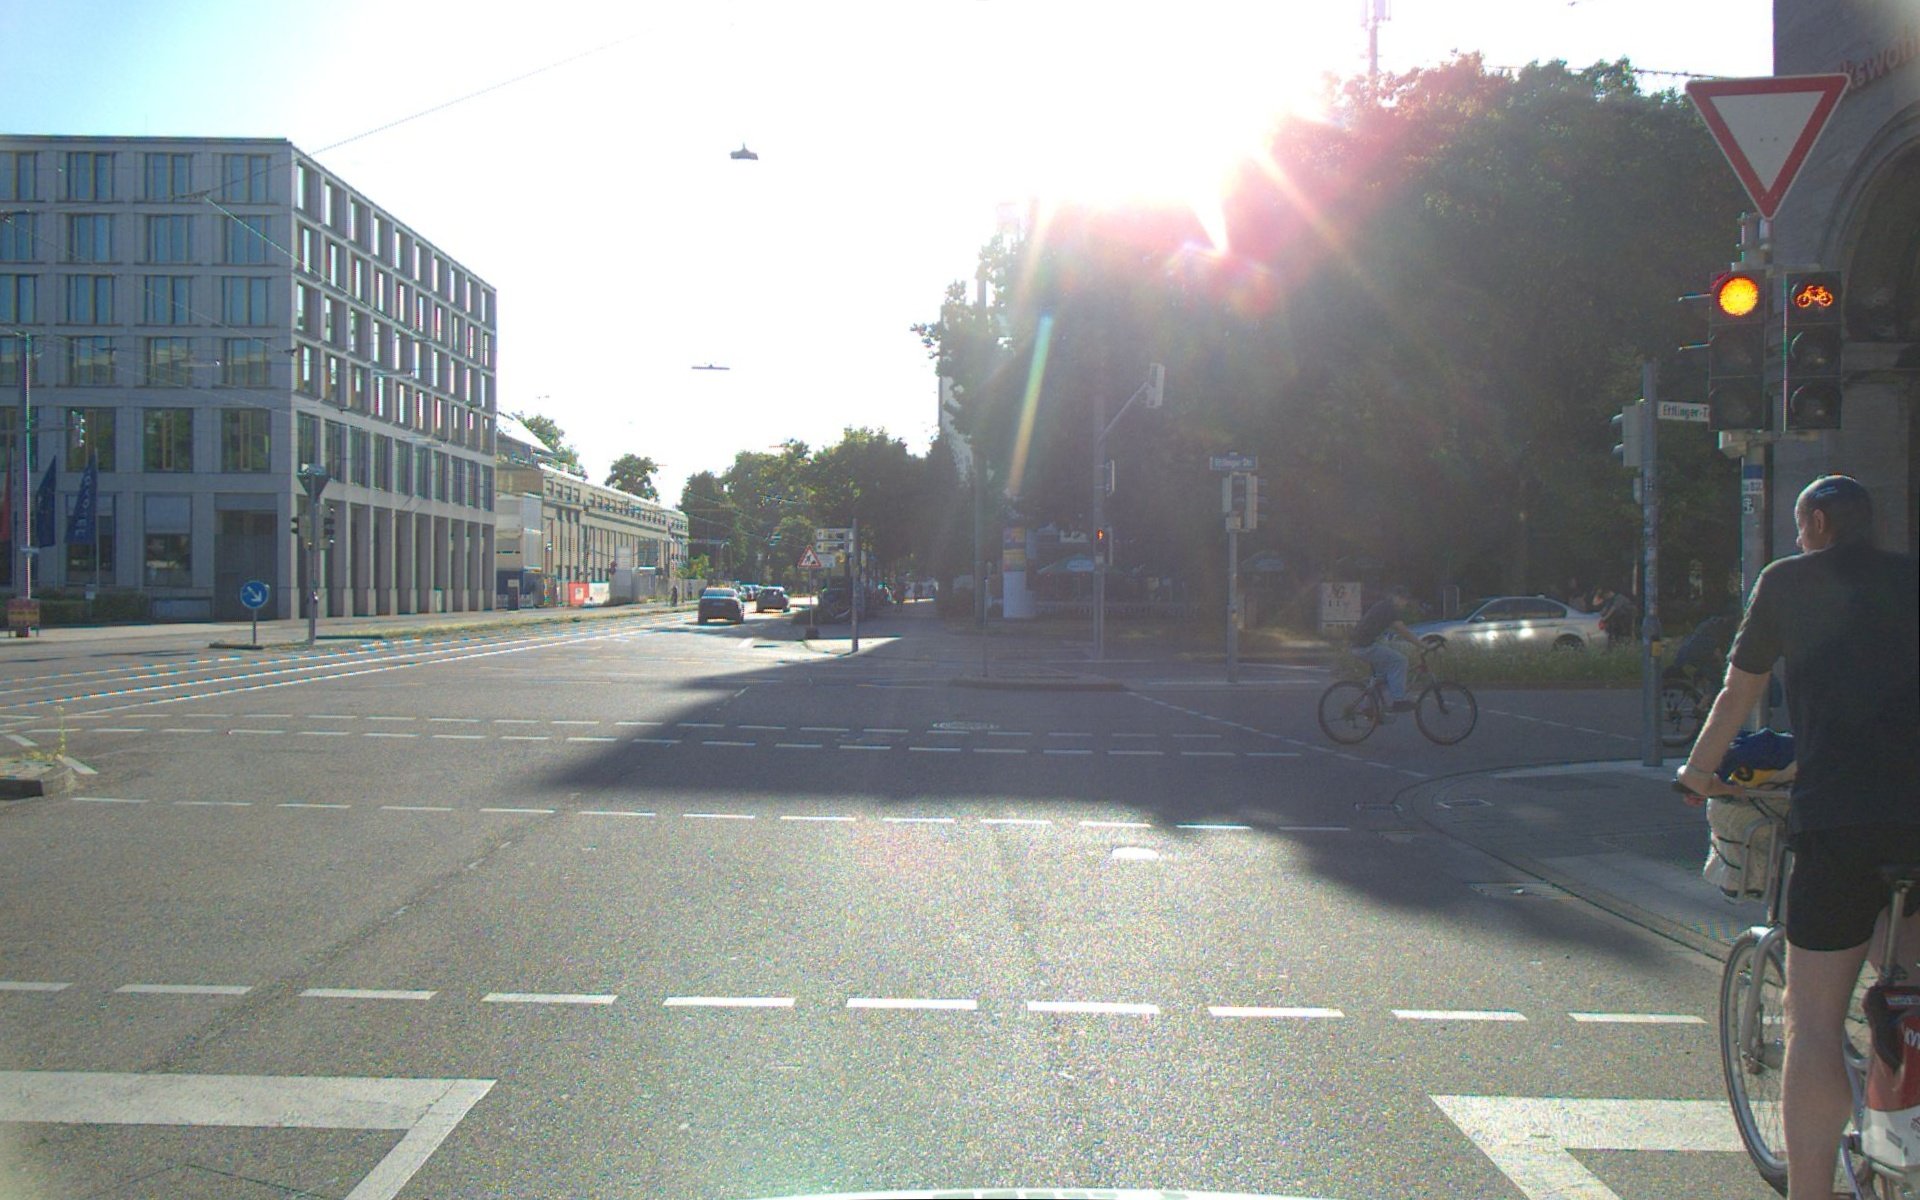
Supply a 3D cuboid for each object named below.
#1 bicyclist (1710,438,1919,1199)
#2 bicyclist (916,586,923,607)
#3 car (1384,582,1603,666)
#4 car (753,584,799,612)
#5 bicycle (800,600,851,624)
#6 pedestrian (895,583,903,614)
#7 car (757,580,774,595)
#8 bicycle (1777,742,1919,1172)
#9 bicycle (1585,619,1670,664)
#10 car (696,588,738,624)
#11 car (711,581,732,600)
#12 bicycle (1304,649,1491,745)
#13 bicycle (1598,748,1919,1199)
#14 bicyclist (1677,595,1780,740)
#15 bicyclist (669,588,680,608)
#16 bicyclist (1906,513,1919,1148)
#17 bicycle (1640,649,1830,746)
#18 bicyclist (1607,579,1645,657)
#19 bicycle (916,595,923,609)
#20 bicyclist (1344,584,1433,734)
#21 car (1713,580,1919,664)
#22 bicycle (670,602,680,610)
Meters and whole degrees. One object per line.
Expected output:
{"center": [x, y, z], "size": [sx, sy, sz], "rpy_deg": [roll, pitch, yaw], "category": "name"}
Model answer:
{"center": [2.098, 0.579, 3.736], "size": [0.547, 1.830, 0.550], "rpy_deg": [1, 0, 1], "category": "bicyclist"}
{"center": [-3.288, -0.273, 135.608], "size": [0.558, 1.721, 0.699], "rpy_deg": [0, 0, -1], "category": "bicyclist"}
{"center": [10.777, 0.477, 33.567], "size": [3.912, 1.639, 1.650], "rpy_deg": [0, 0, -1], "category": "car"}
{"center": [-10.956, -0.133, 98.696], "size": [1.853, 1.592, 4.810], "rpy_deg": [3, 1, 3], "category": "car"}
{"center": [-5.485, 0.507, 67.388], "size": [1.976, 0.907, 0.650], "rpy_deg": [-2, -1, 27], "category": "bicycle"}
{"center": [-3.609, -0.091, 97.661], "size": [0.454, 1.845, 0.502], "rpy_deg": [0, 0, -5], "category": "pedestrian"}
{"center": [-22.837, -1.435, 194.364], "size": [1.659, 1.748, 4.244], "rpy_deg": [1, 0, -4], "category": "car"}
{"center": [2.867, 1.001, 4.342], "size": [0.523, 1.096, 1.750], "rpy_deg": [1, 0, -2], "category": "bicycle"}
{"center": [14.697, 0.909, 36.438], "size": [1.631, 0.980, 0.534], "rpy_deg": [0, 0, 5], "category": "bicycle"}
{"center": [-10.318, 0.239, 70.026], "size": [1.630, 1.481, 4.421], "rpy_deg": [1, 0, -10], "category": "car"}
{"center": [-22.476, -0.897, 156.115], "size": [1.659, 1.748, 4.244], "rpy_deg": [1, 0, -4], "category": "car"}
{"center": [4.604, 1.014, 17.445], "size": [1.821, 0.951, 0.559], "rpy_deg": [0, 0, -6], "category": "bicycle"}
{"center": [2.080, 0.982, 3.894], "size": [0.505, 1.096, 1.728], "rpy_deg": [1, 0, 1], "category": "bicycle"}
{"center": [8.014, 0.688, 17.268], "size": [0.782, 1.476, 0.617], "rpy_deg": [0, 0, -4], "category": "bicyclist"}
{"center": [-19.776, -0.122, 114.574], "size": [0.584, 1.401, 0.637], "rpy_deg": [1, -1, -2], "category": "bicyclist"}
{"center": [2.892, 0.628, 4.235], "size": [0.546, 1.721, 0.640], "rpy_deg": [1, 0, -2], "category": "bicyclist"}
{"center": [8.074, 1.005, 17.262], "size": [1.709, 0.951, 0.645], "rpy_deg": [0, 0, -5], "category": "bicycle"}
{"center": [14.668, 0.392, 36.436], "size": [0.630, 1.712, 0.507], "rpy_deg": [0, 0, 5], "category": "bicyclist"}
{"center": [-3.284, 0.140, 135.589], "size": [0.563, 1.096, 1.830], "rpy_deg": [0, 0, -1], "category": "bicycle"}
{"center": [4.509, 0.606, 17.436], "size": [0.748, 1.550, 0.606], "rpy_deg": [0, 0, -5], "category": "bicyclist"}
{"center": [17.539, 0.420, 33.557], "size": [3.770, 1.639, 1.650], "rpy_deg": [0, 0, -1], "category": "car"}
{"center": [-19.760, 0.438, 114.542], "size": [0.491, 0.524, 1.257], "rpy_deg": [1, 0, -2], "category": "bicycle"}
